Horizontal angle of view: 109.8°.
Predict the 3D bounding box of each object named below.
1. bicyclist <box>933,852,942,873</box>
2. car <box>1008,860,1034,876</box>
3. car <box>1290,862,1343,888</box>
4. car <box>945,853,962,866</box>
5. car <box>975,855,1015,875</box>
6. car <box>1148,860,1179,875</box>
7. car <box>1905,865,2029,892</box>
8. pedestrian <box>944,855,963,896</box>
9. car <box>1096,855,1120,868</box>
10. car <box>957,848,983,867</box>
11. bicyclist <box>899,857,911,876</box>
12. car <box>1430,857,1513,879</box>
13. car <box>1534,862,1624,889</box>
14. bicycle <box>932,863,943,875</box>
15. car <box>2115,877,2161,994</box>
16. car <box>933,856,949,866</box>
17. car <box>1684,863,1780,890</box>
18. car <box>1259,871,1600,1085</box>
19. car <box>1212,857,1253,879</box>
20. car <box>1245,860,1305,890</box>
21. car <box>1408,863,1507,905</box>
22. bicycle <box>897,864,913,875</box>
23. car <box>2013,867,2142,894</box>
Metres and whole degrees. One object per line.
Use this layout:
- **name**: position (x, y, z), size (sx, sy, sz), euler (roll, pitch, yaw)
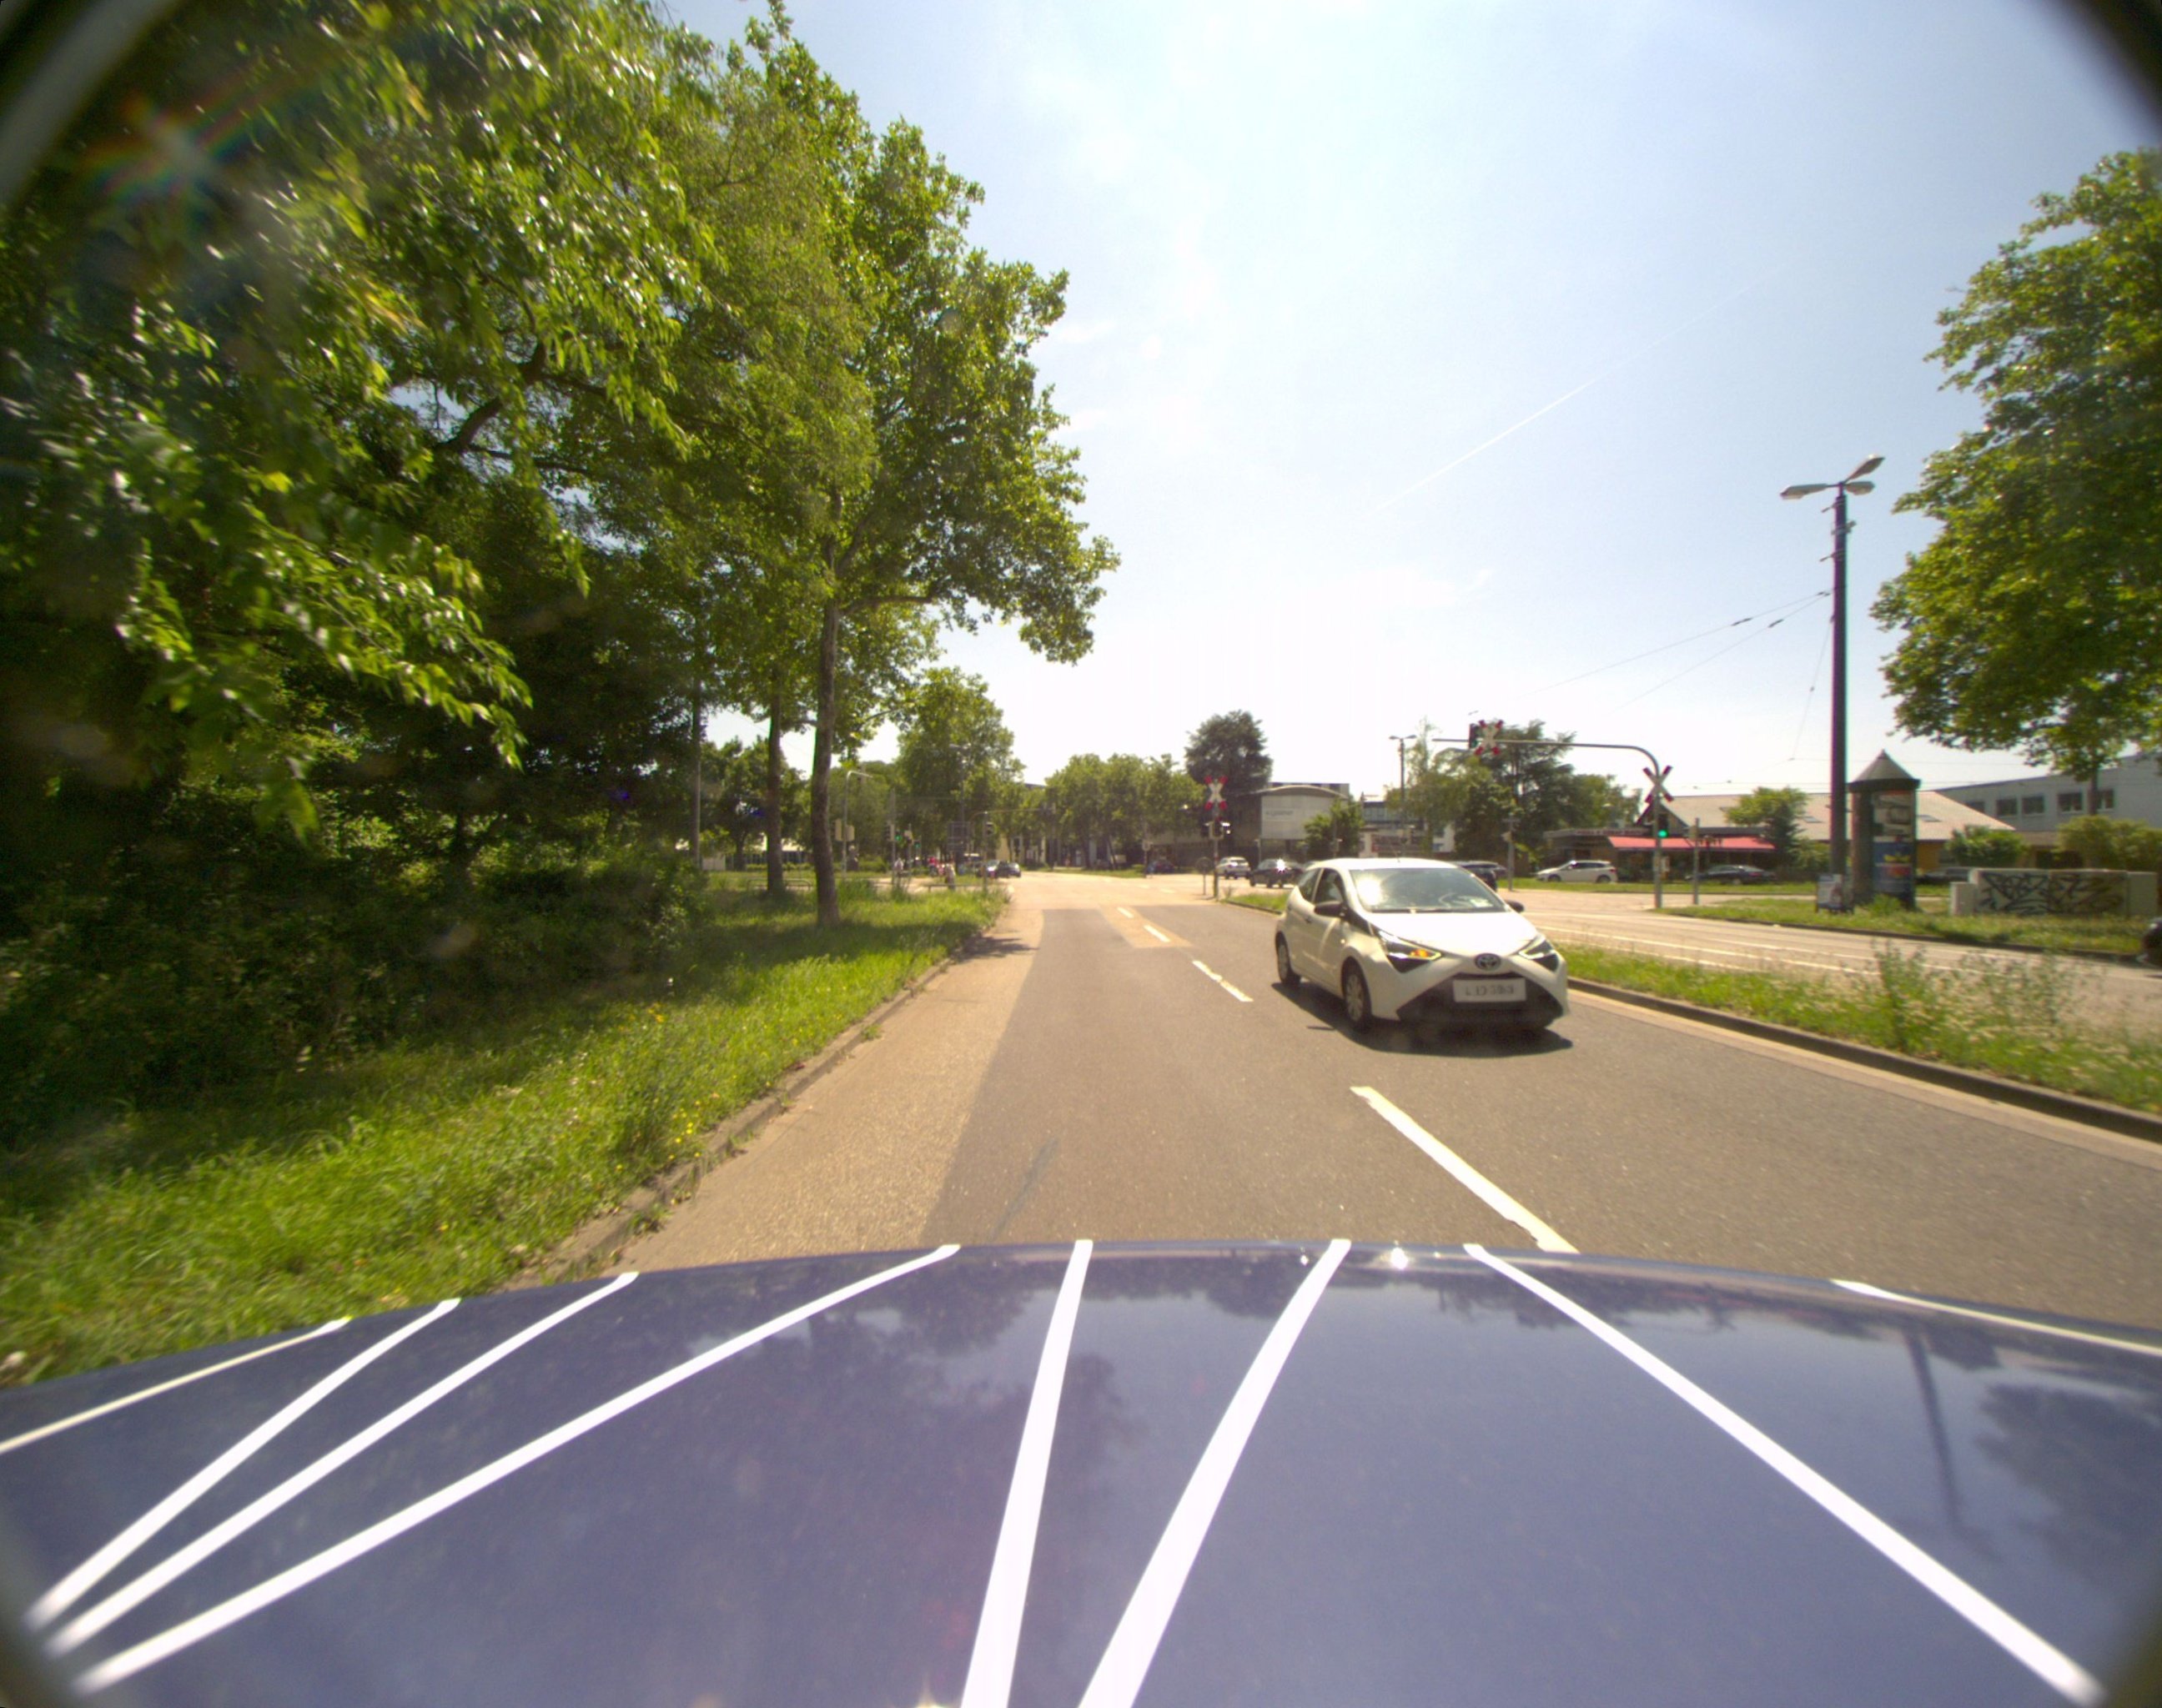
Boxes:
- **bicyclist**: position (-10.619, 0.601, 56.186), size (0.579, 1.547, 0.673), euler (0, 1, -6)
- **car**: position (-5.268, 1.212, 67.372), size (1.790, 1.325, 3.744), euler (0, 0, 4)
- **car**: position (13.161, 1.136, 42.732), size (1.810, 1.353, 3.552), euler (0, 0, -1)
- **car**: position (-20.780, 0.866, 123.510), size (2.002, 2.002, 3.993), euler (0, 0, -20)
- **car**: position (-6.556, 0.845, 58.620), size (1.651, 1.453, 3.870), euler (0, 0, 17)
- **car**: position (8.184, 1.299, 75.650), size (1.955, 1.431, 4.742), euler (0, 0, -8)
- **car**: position (51.742, 1.398, 44.493), size (1.878, 1.403, 4.384), euler (0, 0, -10)
- **pedestrian**: position (-4.607, 0.772, 27.452), size (0.554, 1.475, 0.630), euler (0, 0, 3)
- **car**: position (3.026, 0.853, 87.053), size (1.915, 1.530, 4.294), euler (0, 0, -10)
- **car**: position (-16.052, 0.552, 109.218), size (2.922, 2.638, 6.357), euler (0, 0, -15)
- **bicyclist**: position (-12.788, 0.891, 55.132), size (0.600, 1.331, 0.667), euler (0, 0, 12)
- **car**: position (26.077, 0.915, 50.876), size (4.660, 1.372, 1.890), euler (1, 1, 18)
- **car**: position (31.689, 1.335, 48.485), size (4.451, 1.595, 2.220), euler (0, 0, 21)
- **bicycle**: position (-10.636, 1.111, 56.325), size (0.589, 0.890, 1.810), euler (0, 0, -5)
- **car**: position (14.883, 1.070, 7.933), size (1.817, 1.498, 4.592), euler (1, 0, -2)
- **car**: position (-24.538, 1.183, 133.320), size (2.002, 1.827, 3.992), euler (0, 0, -22)
- **car**: position (41.724, 1.388, 48.851), size (1.784, 1.641, 4.565), euler (0, 0, -10)
- **car**: position (2.997, 0.956, 7.421), size (1.623, 1.437, 3.651), euler (-2, 0, 0)
- **car**: position (11.369, 1.051, 57.270), size (1.793, 1.605, 4.401), euler (0, 0, -7)
- **car**: position (9.860, 1.036, 38.856), size (1.741, 1.387, 4.176), euler (2, 0, -3)
- **car**: position (14.458, 1.109, 29.453), size (1.725, 1.447, 3.867), euler (0, 0, -4)
- **bicycle**: position (-12.793, 1.143, 55.176), size (0.464, 0.759, 1.670), euler (1, 0, 12)
- **car**: position (56.910, 1.483, 43.514), size (1.947, 1.415, 4.058), euler (0, 0, -6)
